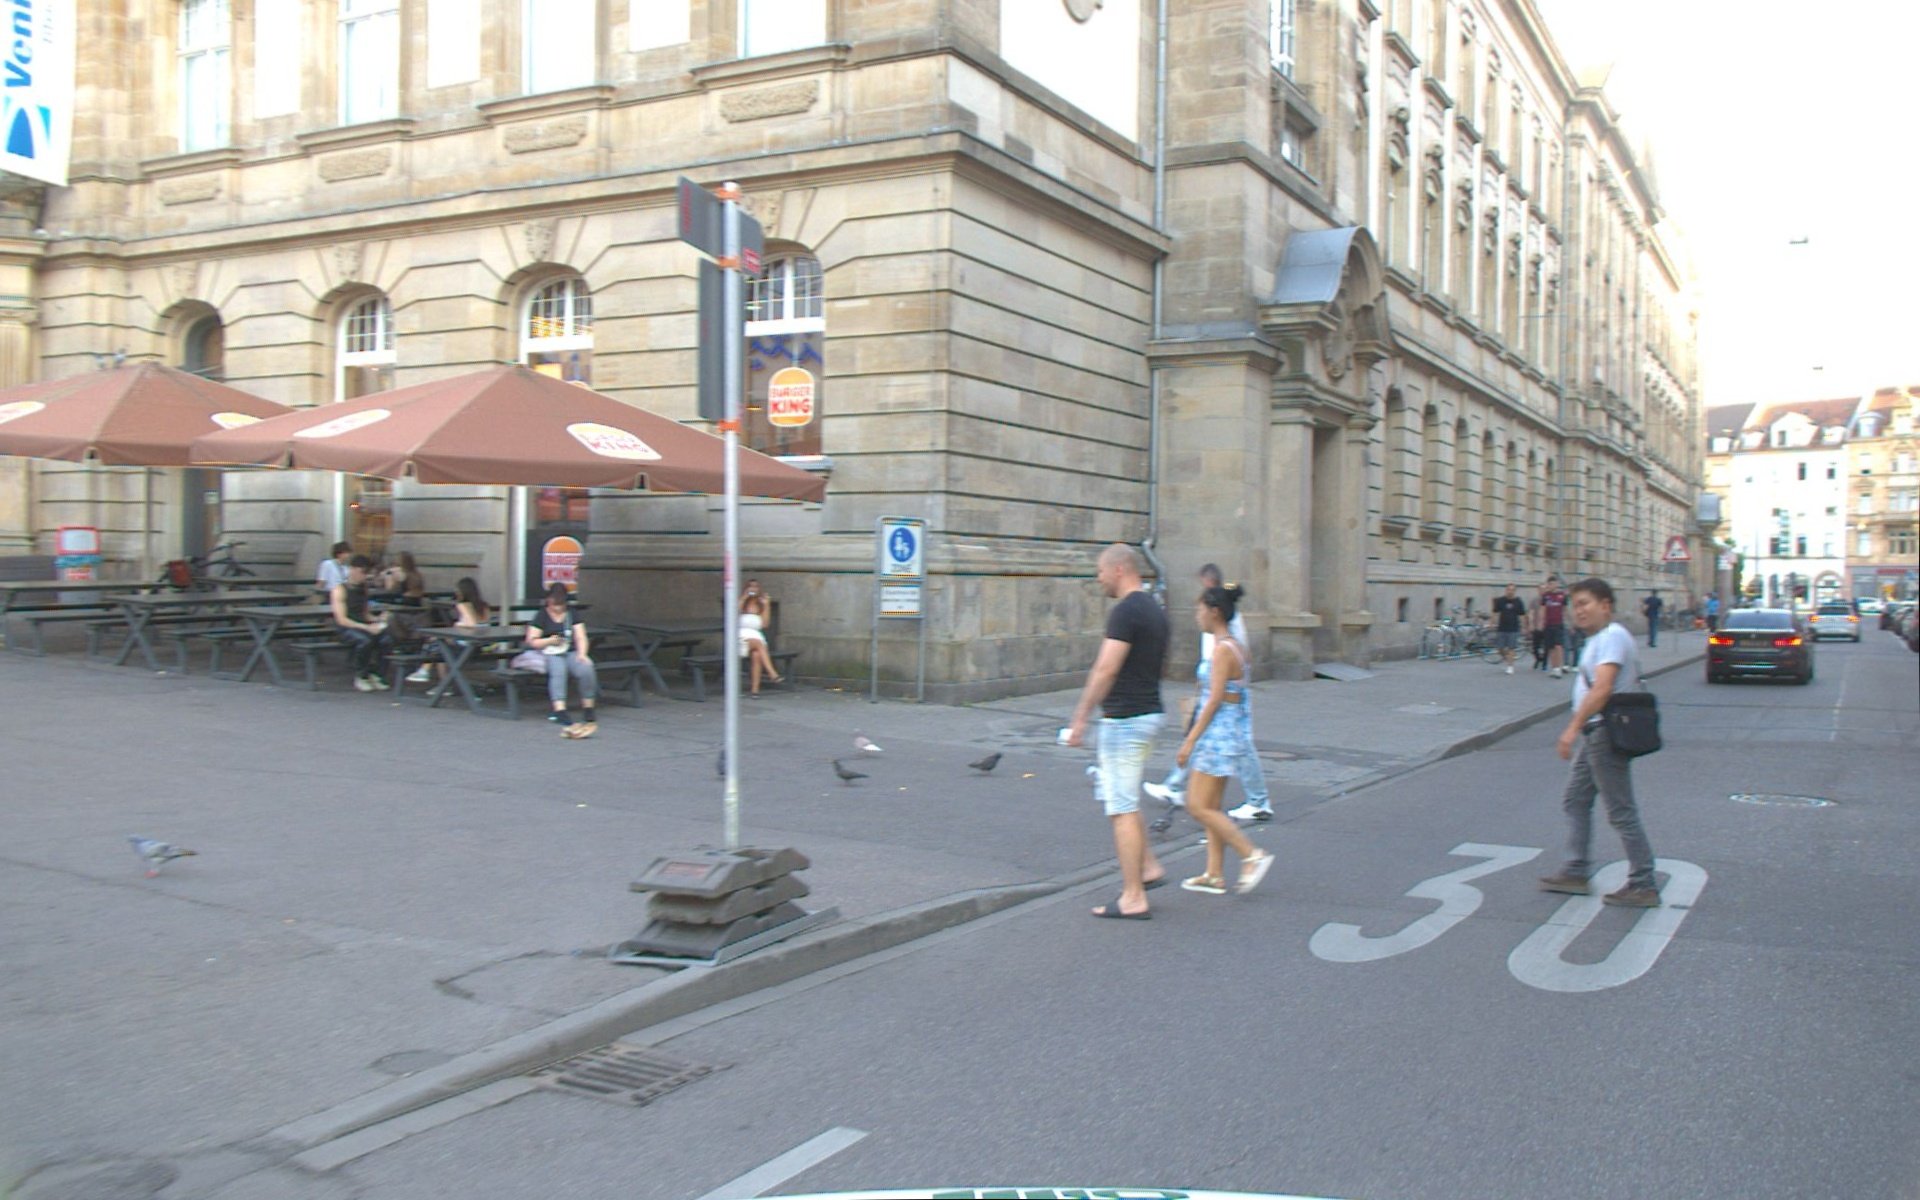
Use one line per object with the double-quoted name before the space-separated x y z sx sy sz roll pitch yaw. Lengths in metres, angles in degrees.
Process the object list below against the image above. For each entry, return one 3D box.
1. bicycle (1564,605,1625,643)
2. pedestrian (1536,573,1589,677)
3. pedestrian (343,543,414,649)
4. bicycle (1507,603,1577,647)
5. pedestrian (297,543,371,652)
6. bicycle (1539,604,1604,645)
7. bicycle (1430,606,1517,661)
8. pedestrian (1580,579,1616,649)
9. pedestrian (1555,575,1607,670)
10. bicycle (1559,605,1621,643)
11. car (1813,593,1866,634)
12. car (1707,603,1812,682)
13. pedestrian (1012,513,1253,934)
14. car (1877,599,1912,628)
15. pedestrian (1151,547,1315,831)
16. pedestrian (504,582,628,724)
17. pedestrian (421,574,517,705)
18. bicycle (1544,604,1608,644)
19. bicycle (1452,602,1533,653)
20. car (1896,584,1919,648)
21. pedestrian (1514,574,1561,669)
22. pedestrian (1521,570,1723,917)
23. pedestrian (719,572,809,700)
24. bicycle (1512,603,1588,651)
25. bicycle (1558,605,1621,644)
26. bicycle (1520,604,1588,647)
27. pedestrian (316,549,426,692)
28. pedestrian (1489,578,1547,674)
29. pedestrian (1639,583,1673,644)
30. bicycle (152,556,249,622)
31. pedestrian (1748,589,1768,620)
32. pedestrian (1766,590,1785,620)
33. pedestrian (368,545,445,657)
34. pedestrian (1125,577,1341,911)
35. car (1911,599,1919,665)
"bicycle" 19.390 0.720 50.552 1.647 1.059 0.486 3 1 28
"pedestrian" 11.117 0.452 30.511 0.684 1.843 0.974 4 2 26
"pedestrian" -7.571 -0.049 21.542 0.569 1.331 0.593 4 1 27
"bicycle" 15.307 0.659 43.514 1.647 1.059 0.486 3 1 28
"pedestrian" -7.947 -0.037 20.994 0.569 1.331 0.593 4 1 25
"bicycle" 17.571 0.693 47.521 1.647 1.059 0.486 3 1 28
"bicycle" 10.822 0.691 34.865 1.651 1.059 0.486 3 1 35
"pedestrian" 16.677 0.364 43.238 0.705 1.782 0.668 4 2 26
"pedestrian" 12.165 0.425 32.405 0.771 1.782 0.721 4 2 26
"bicycle" 18.815 0.712 49.401 1.647 1.059 0.486 3 1 28
"car" 34.396 0.501 64.757 1.760 1.536 3.995 1 1 28
"car" 15.744 0.788 32.490 1.736 1.433 4.047 0 0 28
"pedestrian" 0.837 0.547 7.919 0.855 1.872 0.805 1 -1 29
"car" 53.205 0.754 94.187 1.613 1.549 3.279 3 2 28
"pedestrian" 1.938 0.590 11.682 0.854 1.871 0.867 4 2 23
"pedestrian" -3.748 0.492 15.740 0.814 1.264 0.776 4 2 43
"pedestrian" -4.933 0.389 16.626 0.689 1.247 0.613 4 2 43
"bicycle" 17.838 0.697 47.893 1.647 1.059 0.486 3 1 28
"bicycle" 12.036 0.610 37.416 1.644 1.059 0.488 3 1 12
"car" 32.234 0.552 54.892 1.835 2.053 3.760 3 2 28
"pedestrian" 11.293 0.410 32.353 0.676 1.782 0.721 4 2 26
"pedestrian" 3.428 0.694 8.546 0.853 1.675 0.731 0 -1 31
"pedestrian" -2.181 0.387 18.394 0.657 1.331 0.764 0 4 -36
"bicycle" 14.324 0.646 40.184 1.647 1.059 0.486 3 1 28
"bicycle" 18.632 0.709 48.973 1.647 1.059 0.486 3 1 28
"bicycle" 16.009 0.669 44.573 1.647 1.059 0.486 3 1 28
"pedestrian" -6.101 0.207 17.127 0.641 1.407 0.802 4 2 39
"pedestrian" 10.415 0.473 30.864 0.782 1.704 0.974 4 2 26
"pedestrian" 21.375 0.404 50.769 0.788 1.782 0.809 4 2 26
"bicycle" -10.920 -0.174 23.820 0.401 0.909 1.321 2 2 24
"pedestrian" 48.213 0.274 99.925 0.915 1.782 0.809 4 2 26
"pedestrian" 49.236 0.291 99.833 0.915 1.782 0.809 4 2 26
"pedestrian" -6.882 0.013 20.562 0.595 1.331 0.609 4 1 25
"pedestrian" 1.434 0.707 8.628 0.855 1.609 0.805 1 -1 29
"car" 24.185 0.805 40.264 1.613 1.549 3.279 3 2 28
